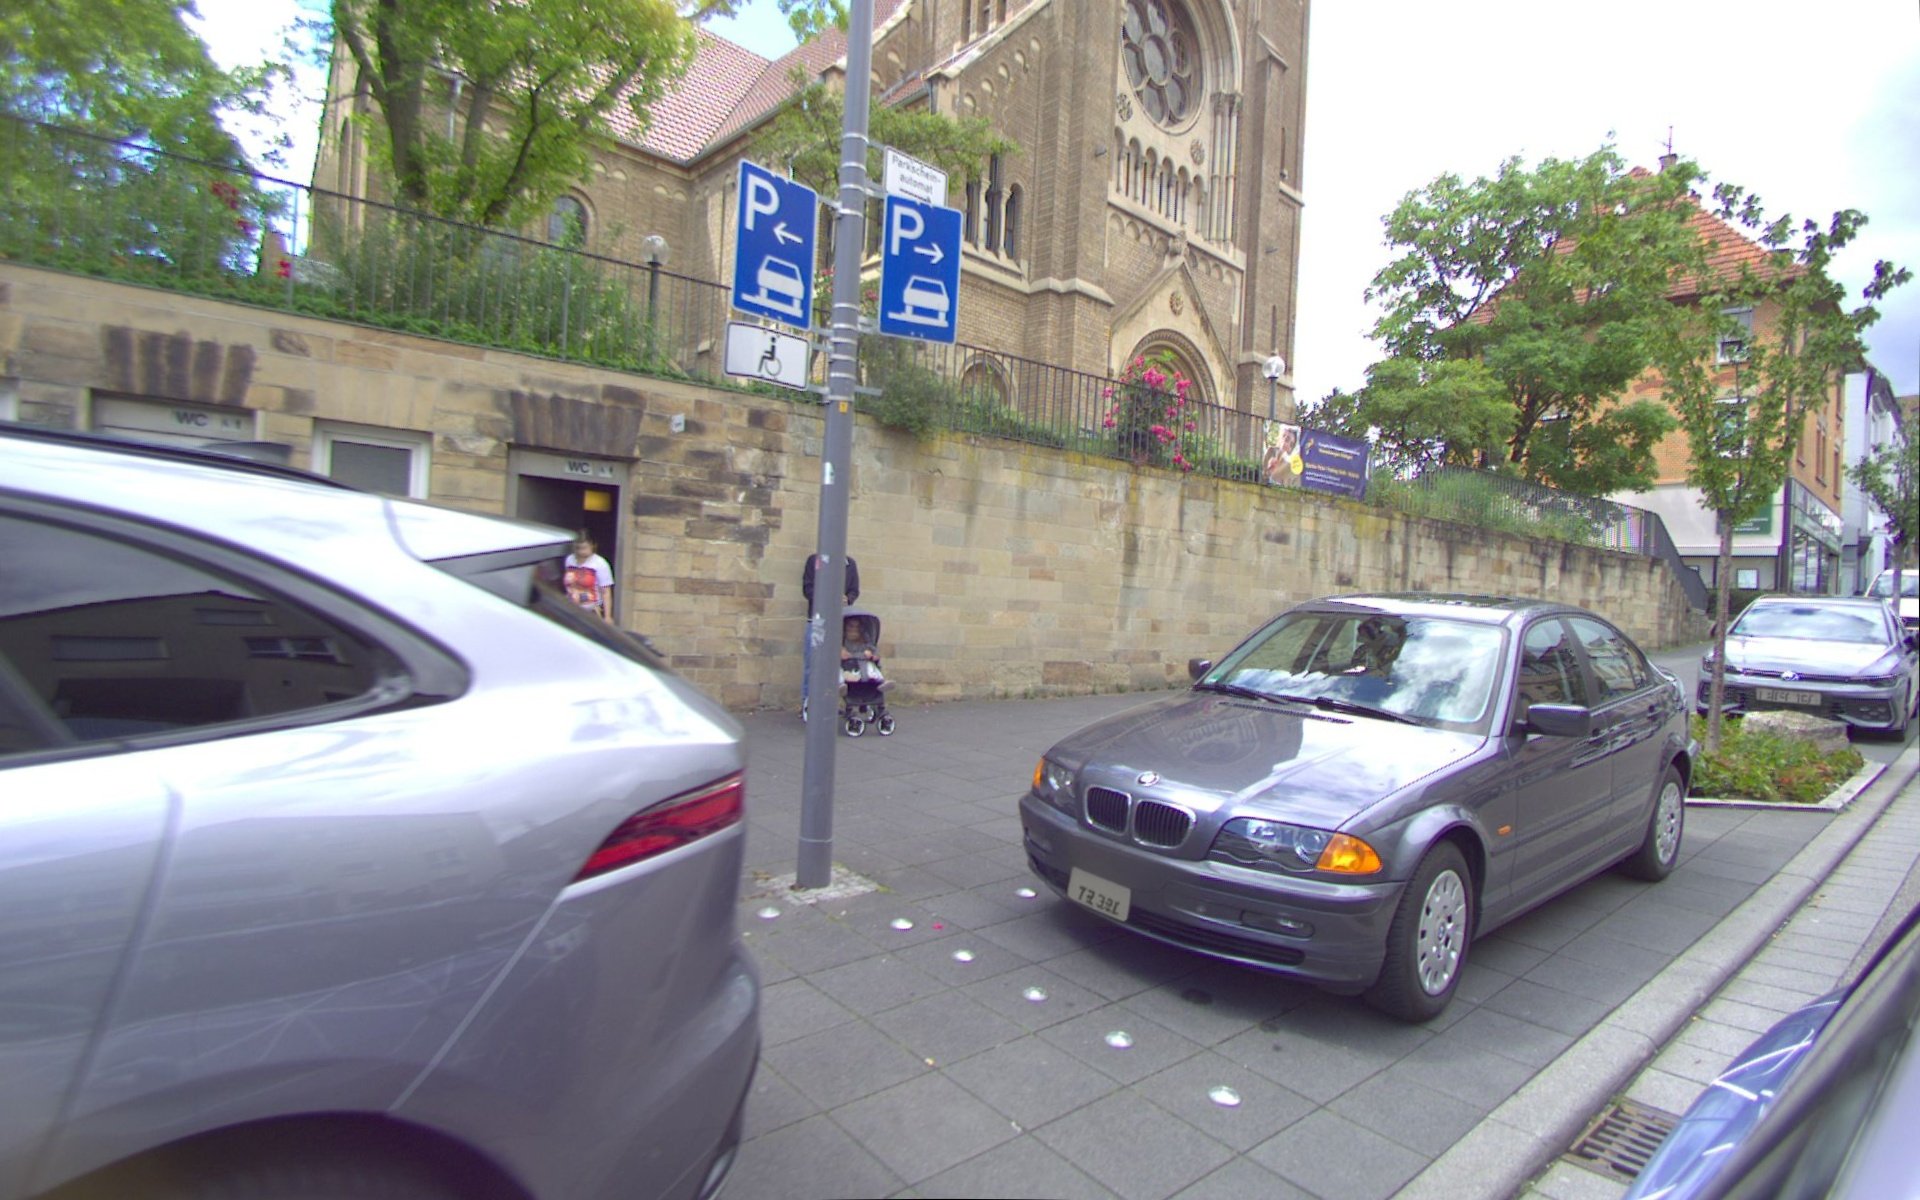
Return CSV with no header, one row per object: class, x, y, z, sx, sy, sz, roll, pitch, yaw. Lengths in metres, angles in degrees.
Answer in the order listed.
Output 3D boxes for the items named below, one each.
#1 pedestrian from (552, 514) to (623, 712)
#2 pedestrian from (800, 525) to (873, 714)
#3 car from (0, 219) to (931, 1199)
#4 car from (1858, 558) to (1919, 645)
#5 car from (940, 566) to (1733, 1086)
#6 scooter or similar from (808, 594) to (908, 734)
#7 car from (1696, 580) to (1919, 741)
pedestrian,-3.246,0.099,8.808,0.496,1.666,0.475,0,2,-30
pedestrian,-1.129,0.162,9.242,0.496,1.666,0.475,0,2,-30
car,-2.373,0.483,0.951,4.494,1.746,1.932,0,1,-42
car,22.762,-0.005,23.525,4.938,1.870,1.891,-1,3,-38
car,2.089,0.563,4.856,4.295,1.434,1.684,-2,3,-40
scooter or similar,-0.879,0.513,8.590,0.549,1.085,0.816,0,2,-30
car,10.042,0.538,11.723,4.022,1.458,1.756,-2,3,-44
